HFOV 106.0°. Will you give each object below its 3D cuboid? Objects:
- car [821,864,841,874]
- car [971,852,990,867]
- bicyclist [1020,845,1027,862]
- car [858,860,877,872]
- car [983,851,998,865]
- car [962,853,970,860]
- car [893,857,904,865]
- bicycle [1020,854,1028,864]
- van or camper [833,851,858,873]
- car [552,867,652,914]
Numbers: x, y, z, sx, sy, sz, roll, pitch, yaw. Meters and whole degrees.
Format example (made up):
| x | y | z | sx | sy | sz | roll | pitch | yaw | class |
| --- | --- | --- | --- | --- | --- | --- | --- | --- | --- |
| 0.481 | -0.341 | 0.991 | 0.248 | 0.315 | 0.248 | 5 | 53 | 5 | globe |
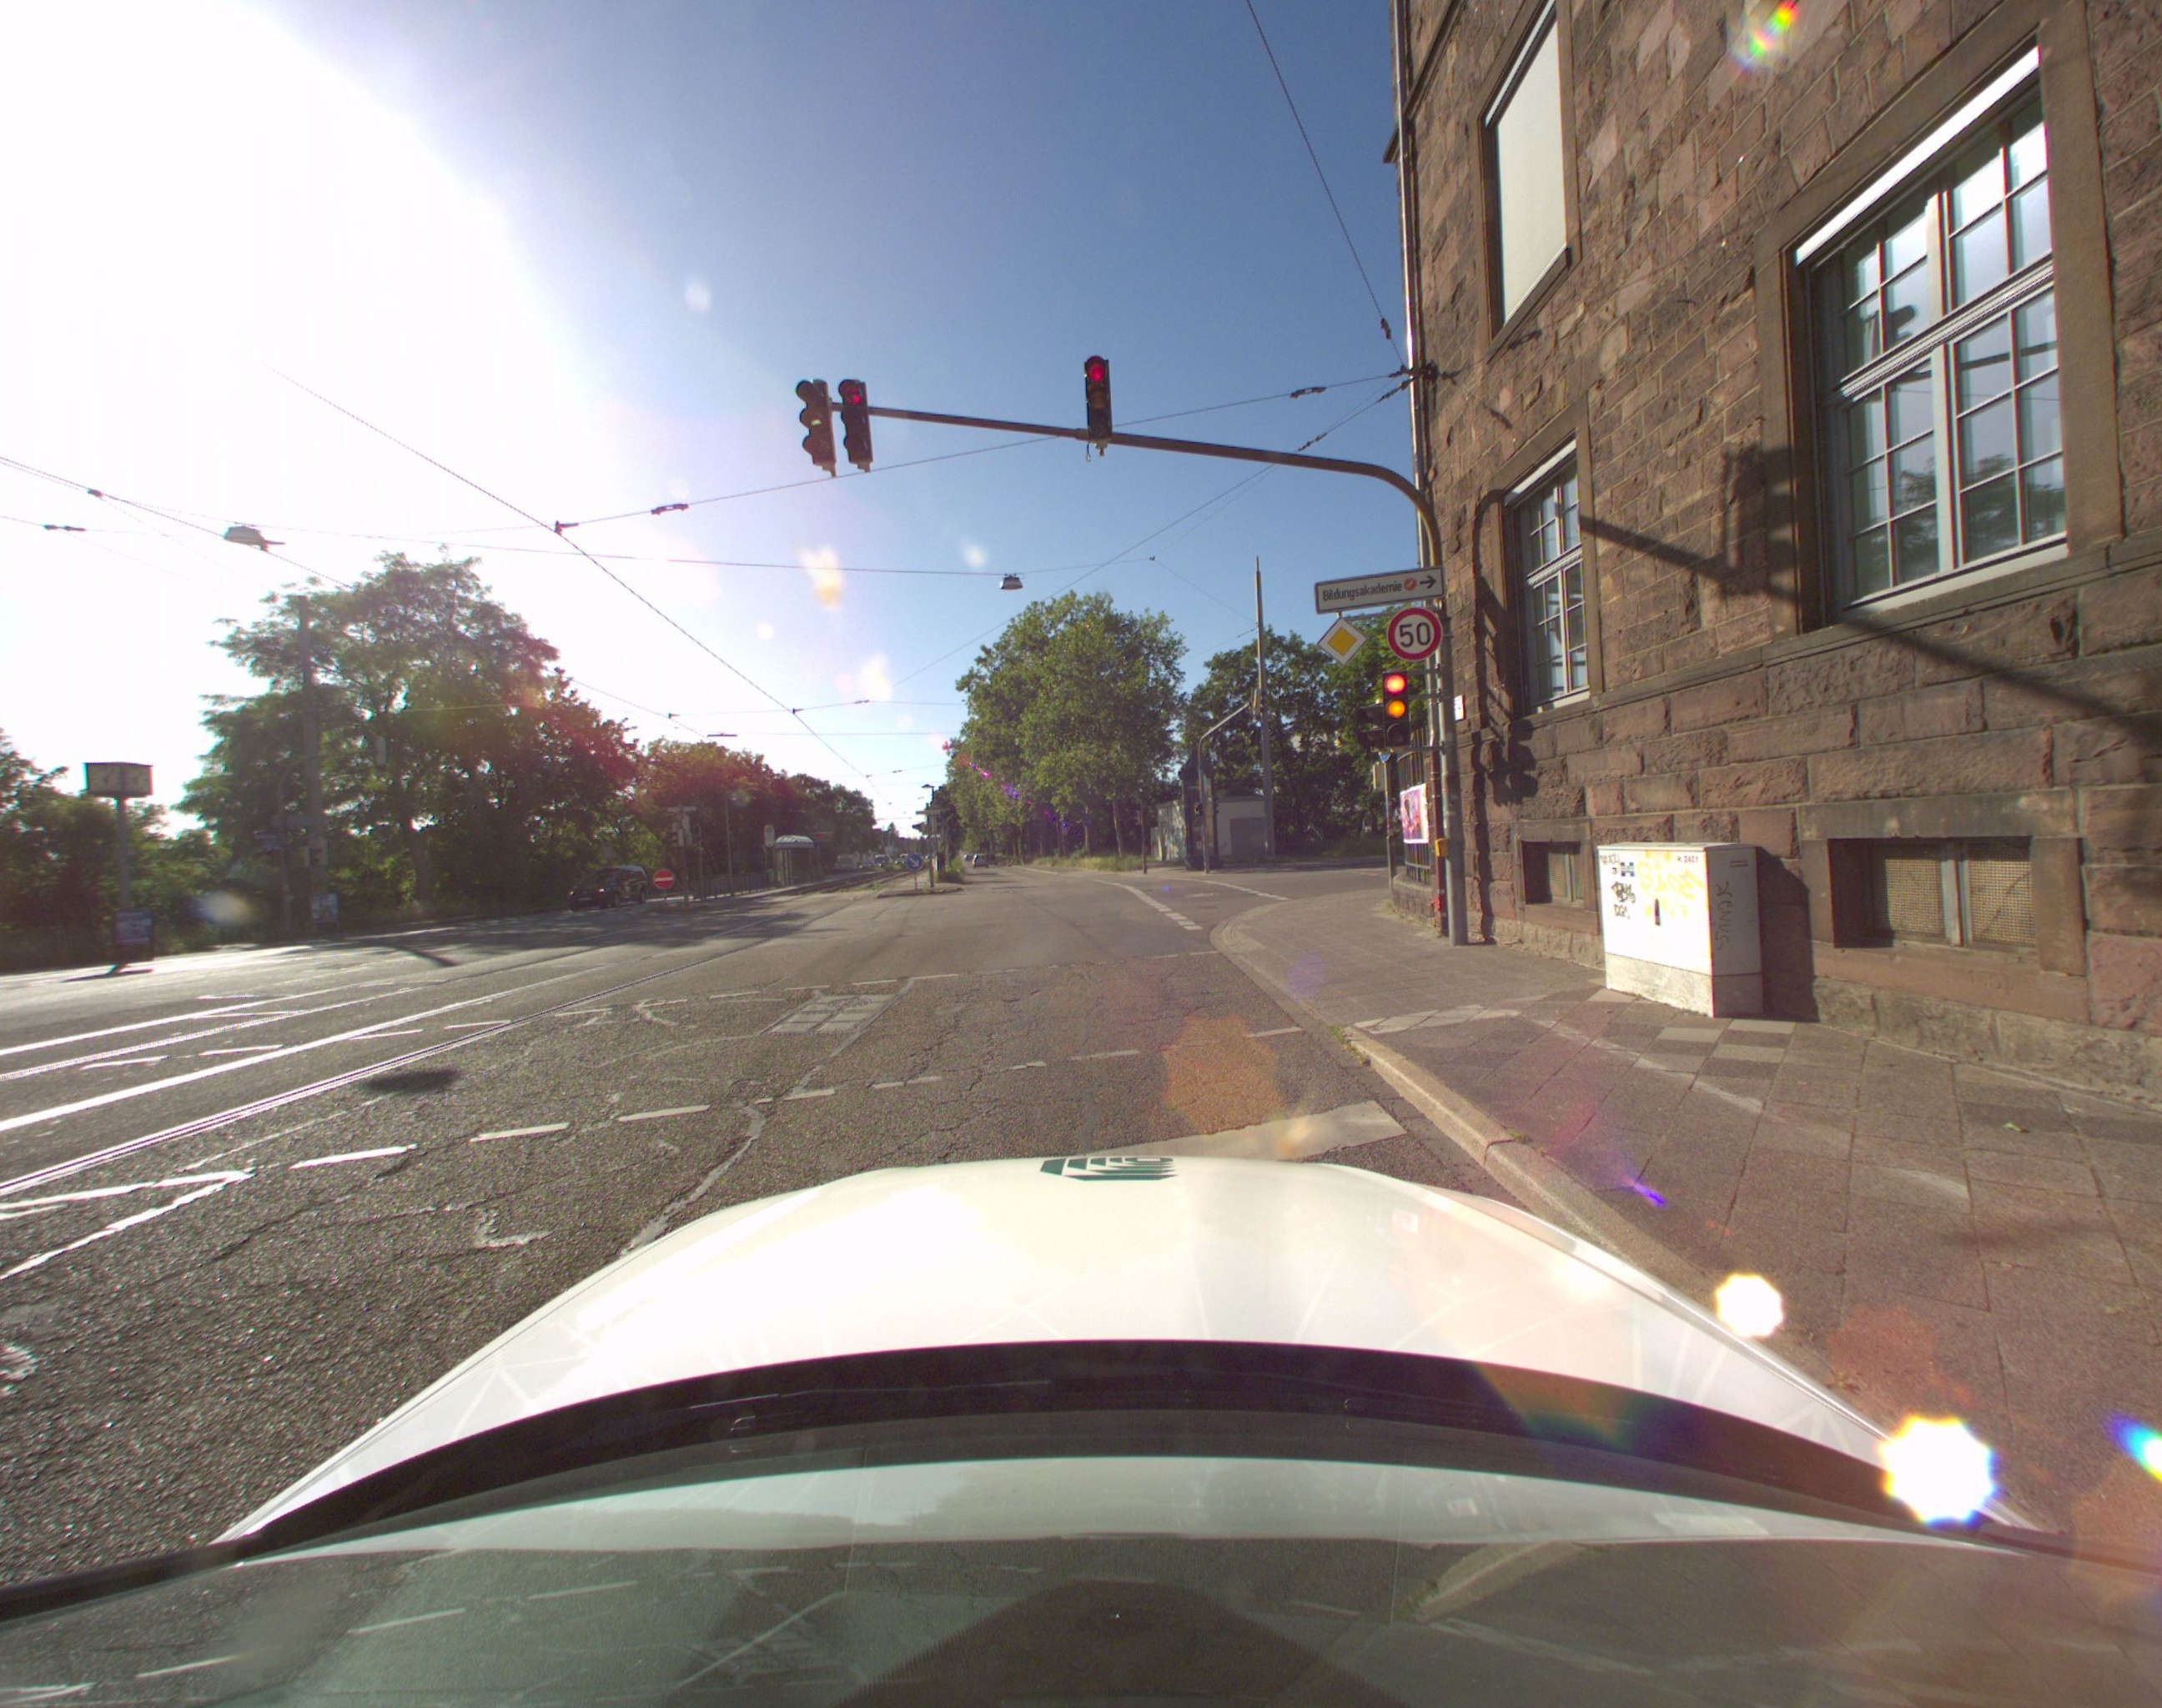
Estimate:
| x | y | z | sx | sy | sz | roll | pitch | yaw | class |
| --- | --- | --- | --- | --- | --- | --- | --- | --- | --- |
| -34.239 | 2.058 | 111.581 | 1.919 | 1.266 | 3.991 | -4 | 0 | -7 | car |
| -10.599 | 0.606 | 85.898 | 1.867 | 1.486 | 3.545 | -3 | 0 | -8 | car |
| -6.054 | -0.086 | 85.889 | 0.534 | 1.769 | 0.710 | -4 | 0 | -11 | bicyclist |
| -29.050 | 1.615 | 111.000 | 1.919 | 1.567 | 3.991 | -4 | 0 | -7 | car |
| -11.877 | 0.512 | 106.564 | 1.750 | 1.604 | 3.739 | -3 | 0 | -8 | car |
| -28.094 | 0.557 | 199.292 | 1.750 | 1.604 | 3.569 | -4 | 1 | -9 | car |
| -38.401 | 1.529 | 171.637 | 1.994 | 1.469 | 4.361 | -3 | 0 | -10 | car |
| -6.005 | 0.545 | 85.843 | 0.536 | 1.066 | 1.428 | -4 | 0 | -10 | bicycle |
| -35.840 | 1.258 | 124.219 | 2.589 | 3.106 | 6.768 | -4 | 0 | -9 | van or camper |
| -20.744 | 1.519 | 35.526 | 1.994 | 1.767 | 5.014 | -4 | 0 | -9 | car |
